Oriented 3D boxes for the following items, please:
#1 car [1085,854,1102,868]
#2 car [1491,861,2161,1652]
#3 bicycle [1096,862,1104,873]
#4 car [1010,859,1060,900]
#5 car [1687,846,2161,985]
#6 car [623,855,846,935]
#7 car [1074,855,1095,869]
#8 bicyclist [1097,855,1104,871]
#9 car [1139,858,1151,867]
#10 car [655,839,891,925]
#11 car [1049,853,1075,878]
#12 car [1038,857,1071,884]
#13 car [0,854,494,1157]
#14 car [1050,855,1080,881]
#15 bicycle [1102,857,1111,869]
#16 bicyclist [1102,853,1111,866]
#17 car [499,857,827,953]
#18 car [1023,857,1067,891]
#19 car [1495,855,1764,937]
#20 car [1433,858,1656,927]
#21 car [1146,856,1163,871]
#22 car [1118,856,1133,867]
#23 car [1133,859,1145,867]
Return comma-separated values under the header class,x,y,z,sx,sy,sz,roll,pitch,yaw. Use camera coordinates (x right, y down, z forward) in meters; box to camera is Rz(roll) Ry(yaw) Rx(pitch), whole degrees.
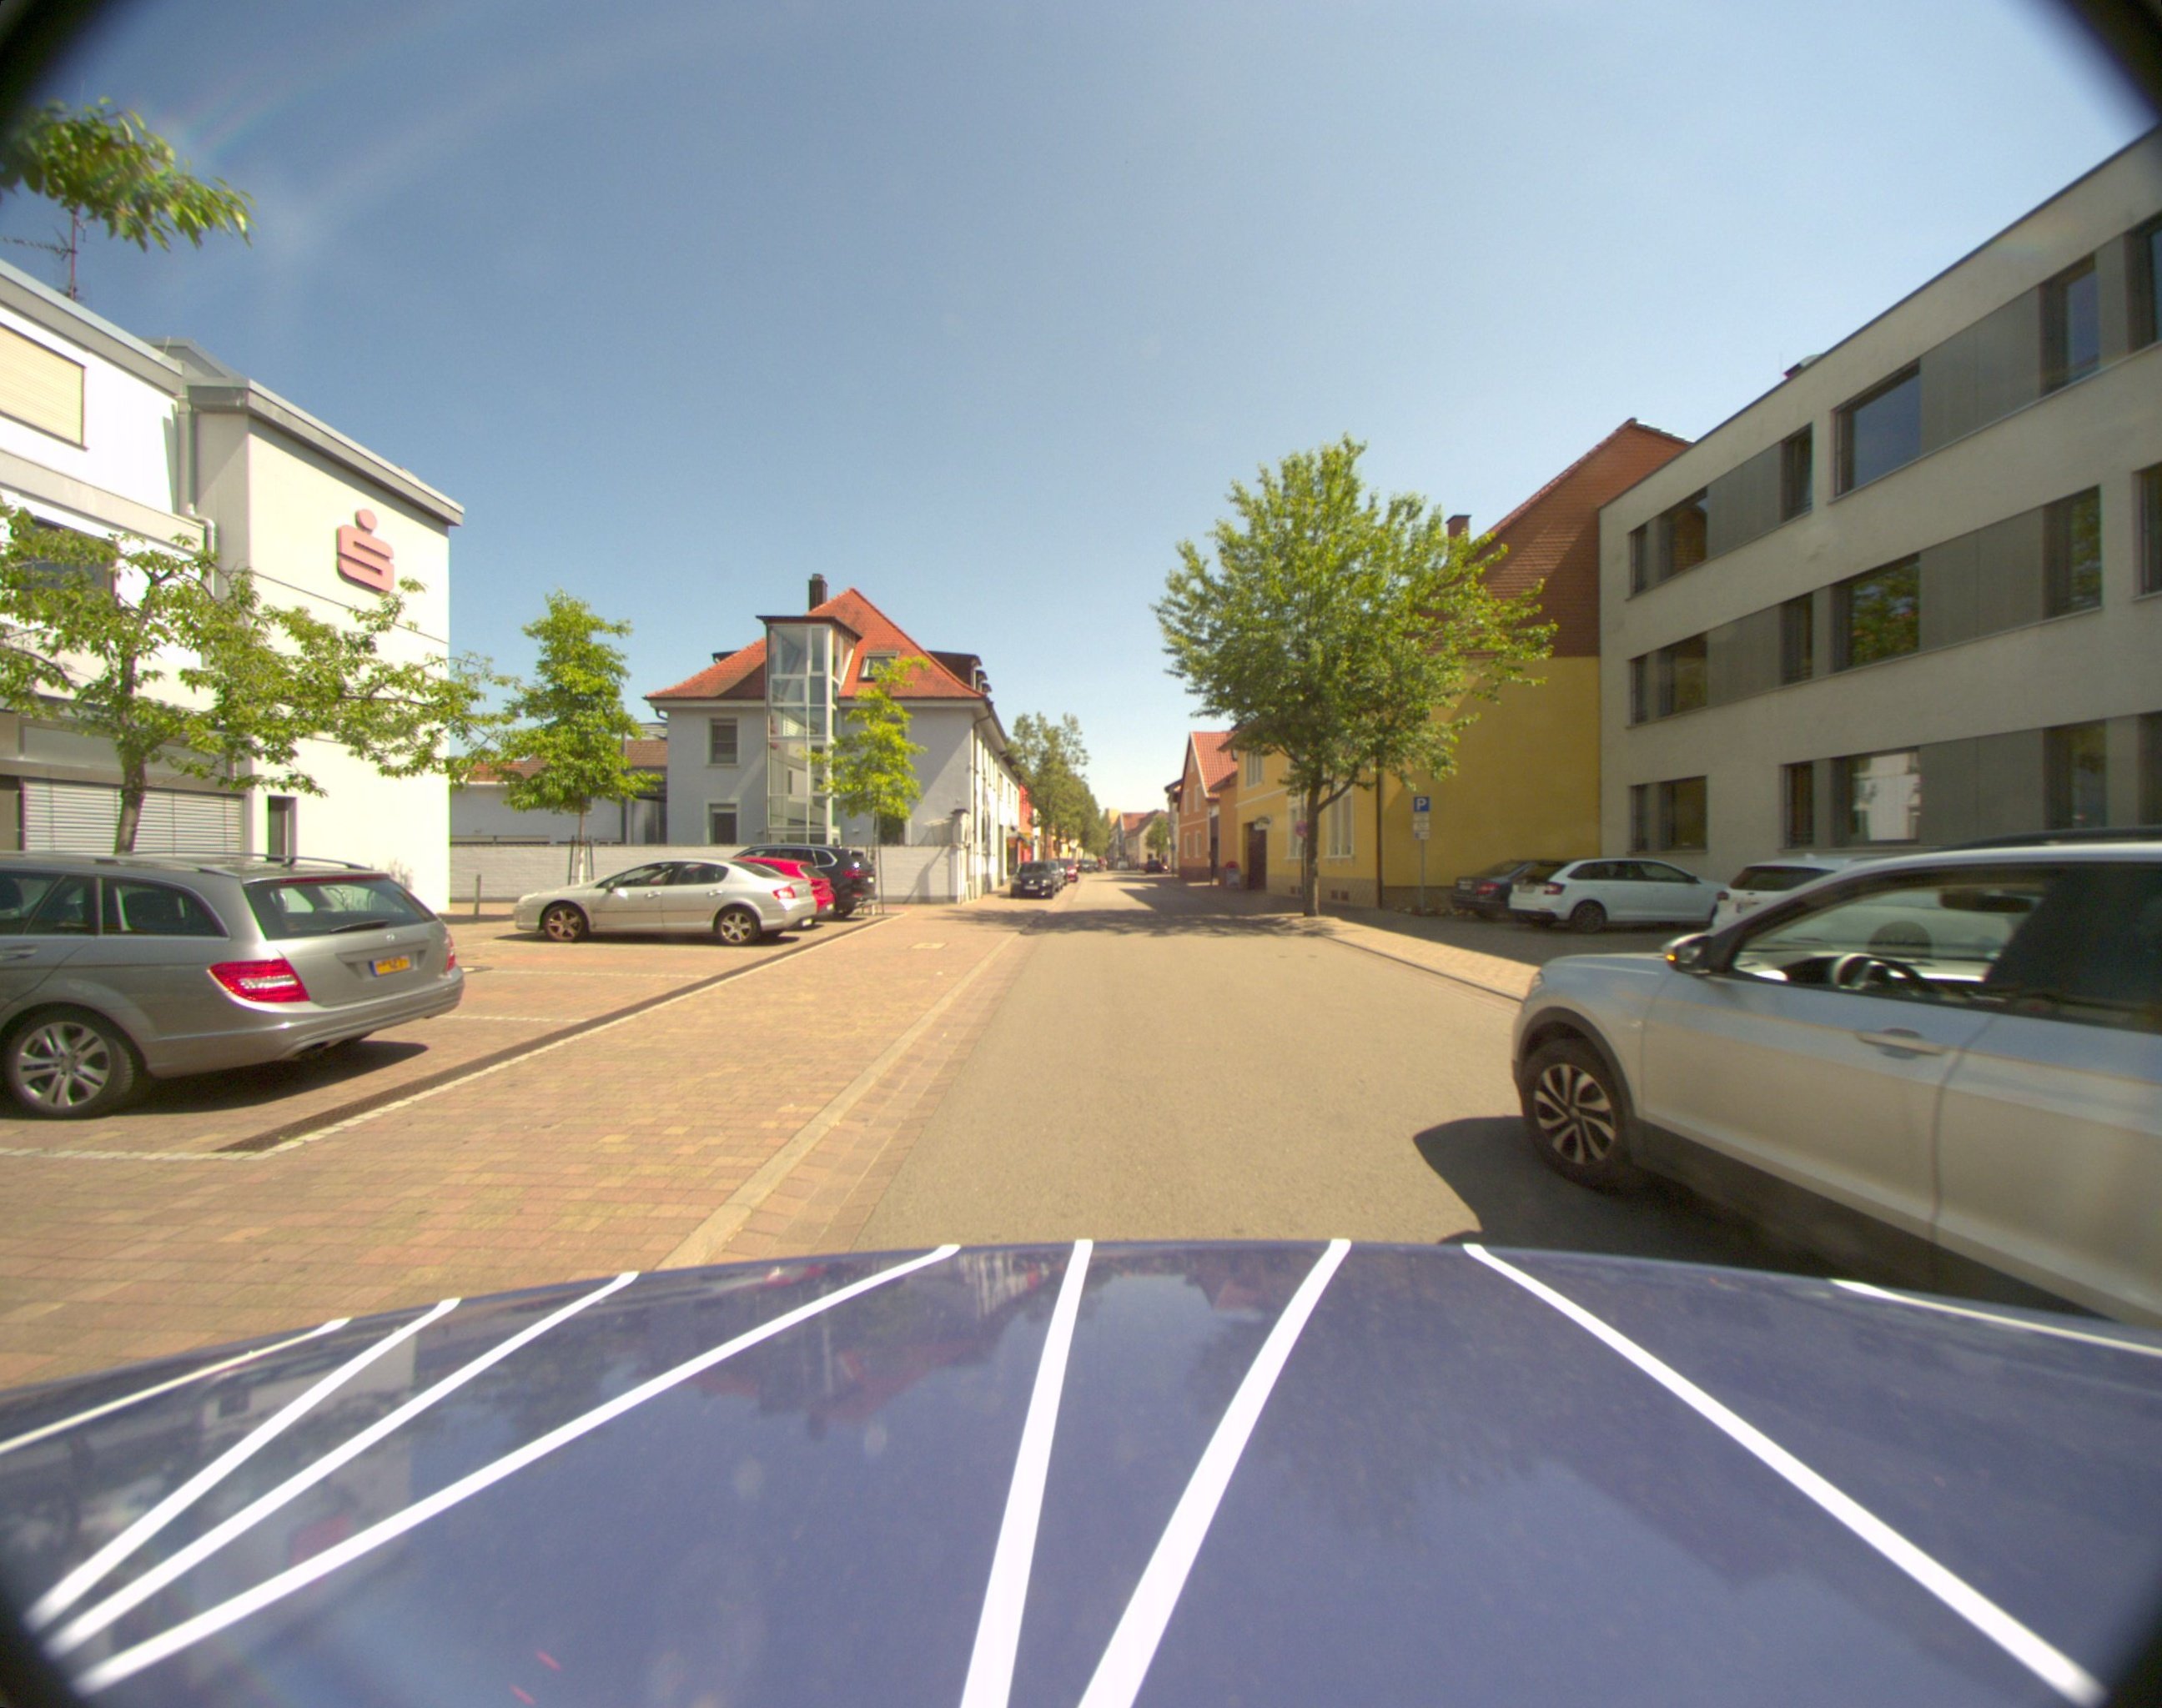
class,x,y,z,sx,sy,sz,roll,pitch,yaw
car,1.732,0.902,101.190,1.998,1.759,4.110,0,0,5
car,3.091,0.813,2.031,1.856,1.564,4.000,0,0,1
bicycle,2.179,1.498,86.206,0.635,1.227,1.895,2,-1,7
car,-1.790,0.965,30.469,1.708,1.472,3.921,2,0,0
car,10.973,0.726,9.960,4.515,1.545,1.935,-1,1,1
car,-6.927,0.807,15.532,3.740,1.444,1.744,2,0,-5
car,0.421,0.939,87.653,1.928,1.594,4.111,0,0,8
bicyclist,2.215,0.990,86.347,0.644,1.766,0.722,2,-1,7
car,11.154,1.436,132.241,1.572,1.452,3.800,0,0,-4
car,-7.110,0.644,17.977,4.642,1.760,2.147,2,-1,-2
car,-1.409,0.847,58.660,1.871,1.675,4.660,-2,1,0
car,-1.518,0.943,44.084,1.741,1.504,3.736,1,-1,1
car,-6.834,0.793,4.811,4.589,1.504,1.915,2,0,-5
car,-1.081,0.896,50.090,1.834,1.579,4.087,-1,0,-2
bicycle,3.050,1.099,91.666,0.959,1.363,2.407,0,0,5
bicyclist,3.023,0.666,91.454,1.028,1.635,1.025,0,0,4
car,-6.950,0.832,13.070,4.549,1.432,1.839,2,0,-5
car,-1.666,0.914,36.191,1.721,1.472,4.096,1,0,2
car,10.685,0.793,15.026,3.997,1.442,1.808,-1,-1,0
car,10.635,0.850,17.642,3.998,1.423,1.972,-1,-1,-3
car,8.477,1.065,87.622,1.862,1.620,4.049,0,0,7
car,8.764,1.456,150.666,2.443,2.223,4.960,0,0,-2
car,10.657,1.590,140.059,1.572,1.452,3.800,0,0,-4
